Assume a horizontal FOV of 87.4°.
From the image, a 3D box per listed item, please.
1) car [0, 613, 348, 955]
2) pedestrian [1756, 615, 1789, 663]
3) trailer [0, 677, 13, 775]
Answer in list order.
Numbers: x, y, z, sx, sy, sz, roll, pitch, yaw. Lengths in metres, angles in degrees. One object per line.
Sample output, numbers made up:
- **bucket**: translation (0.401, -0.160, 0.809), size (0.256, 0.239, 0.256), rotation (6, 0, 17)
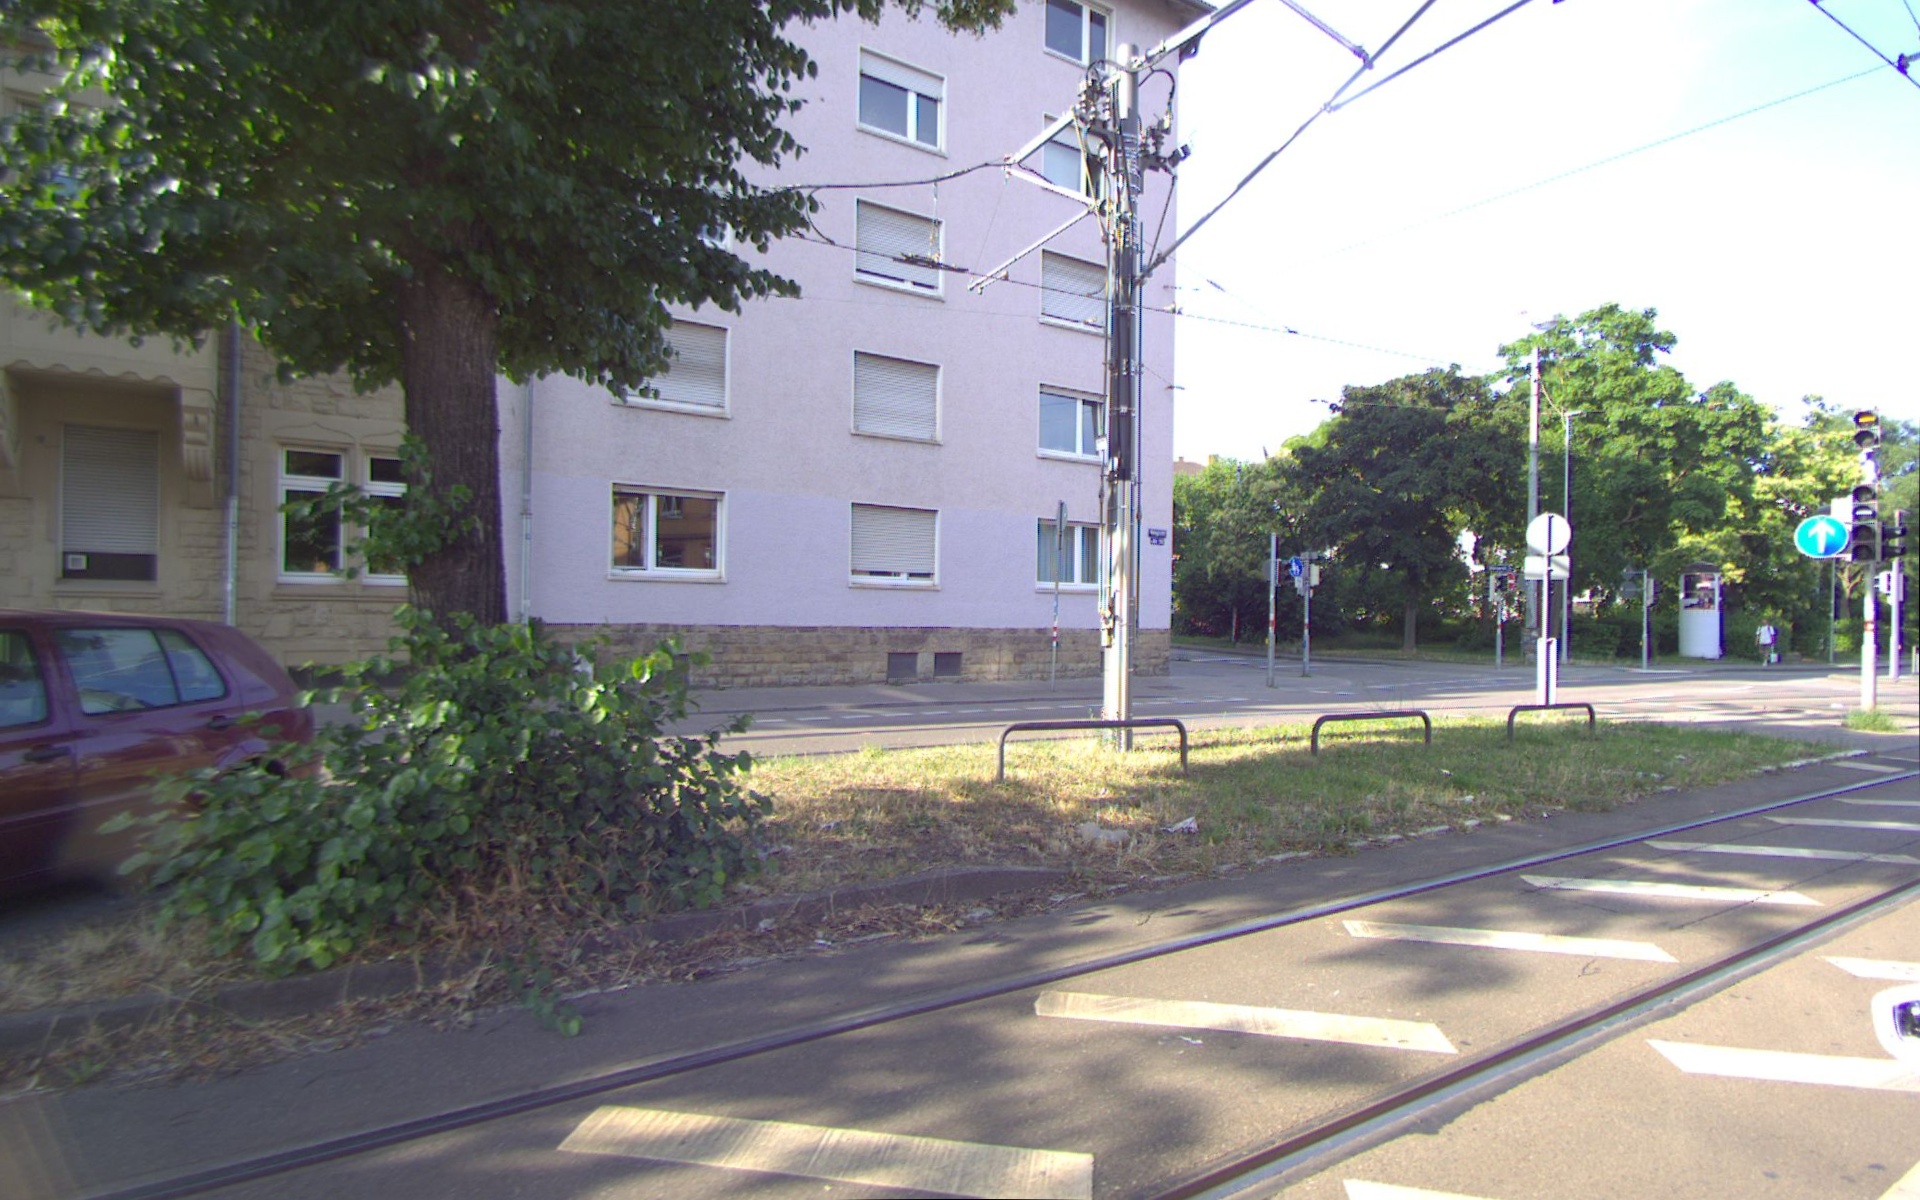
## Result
- **car**: translation (-4.714, 0.748, 4.191), size (1.639, 1.378, 3.955), rotation (1, -1, 5)
- **pedestrian**: translation (33.619, 1.603, 41.563), size (0.992, 1.935, 0.704), rotation (1, 1, 45)
- **trailer**: translation (-10.636, 1.303, 9.020), size (2.848, 0.908, 1.432), rotation (1, 6, -33)
